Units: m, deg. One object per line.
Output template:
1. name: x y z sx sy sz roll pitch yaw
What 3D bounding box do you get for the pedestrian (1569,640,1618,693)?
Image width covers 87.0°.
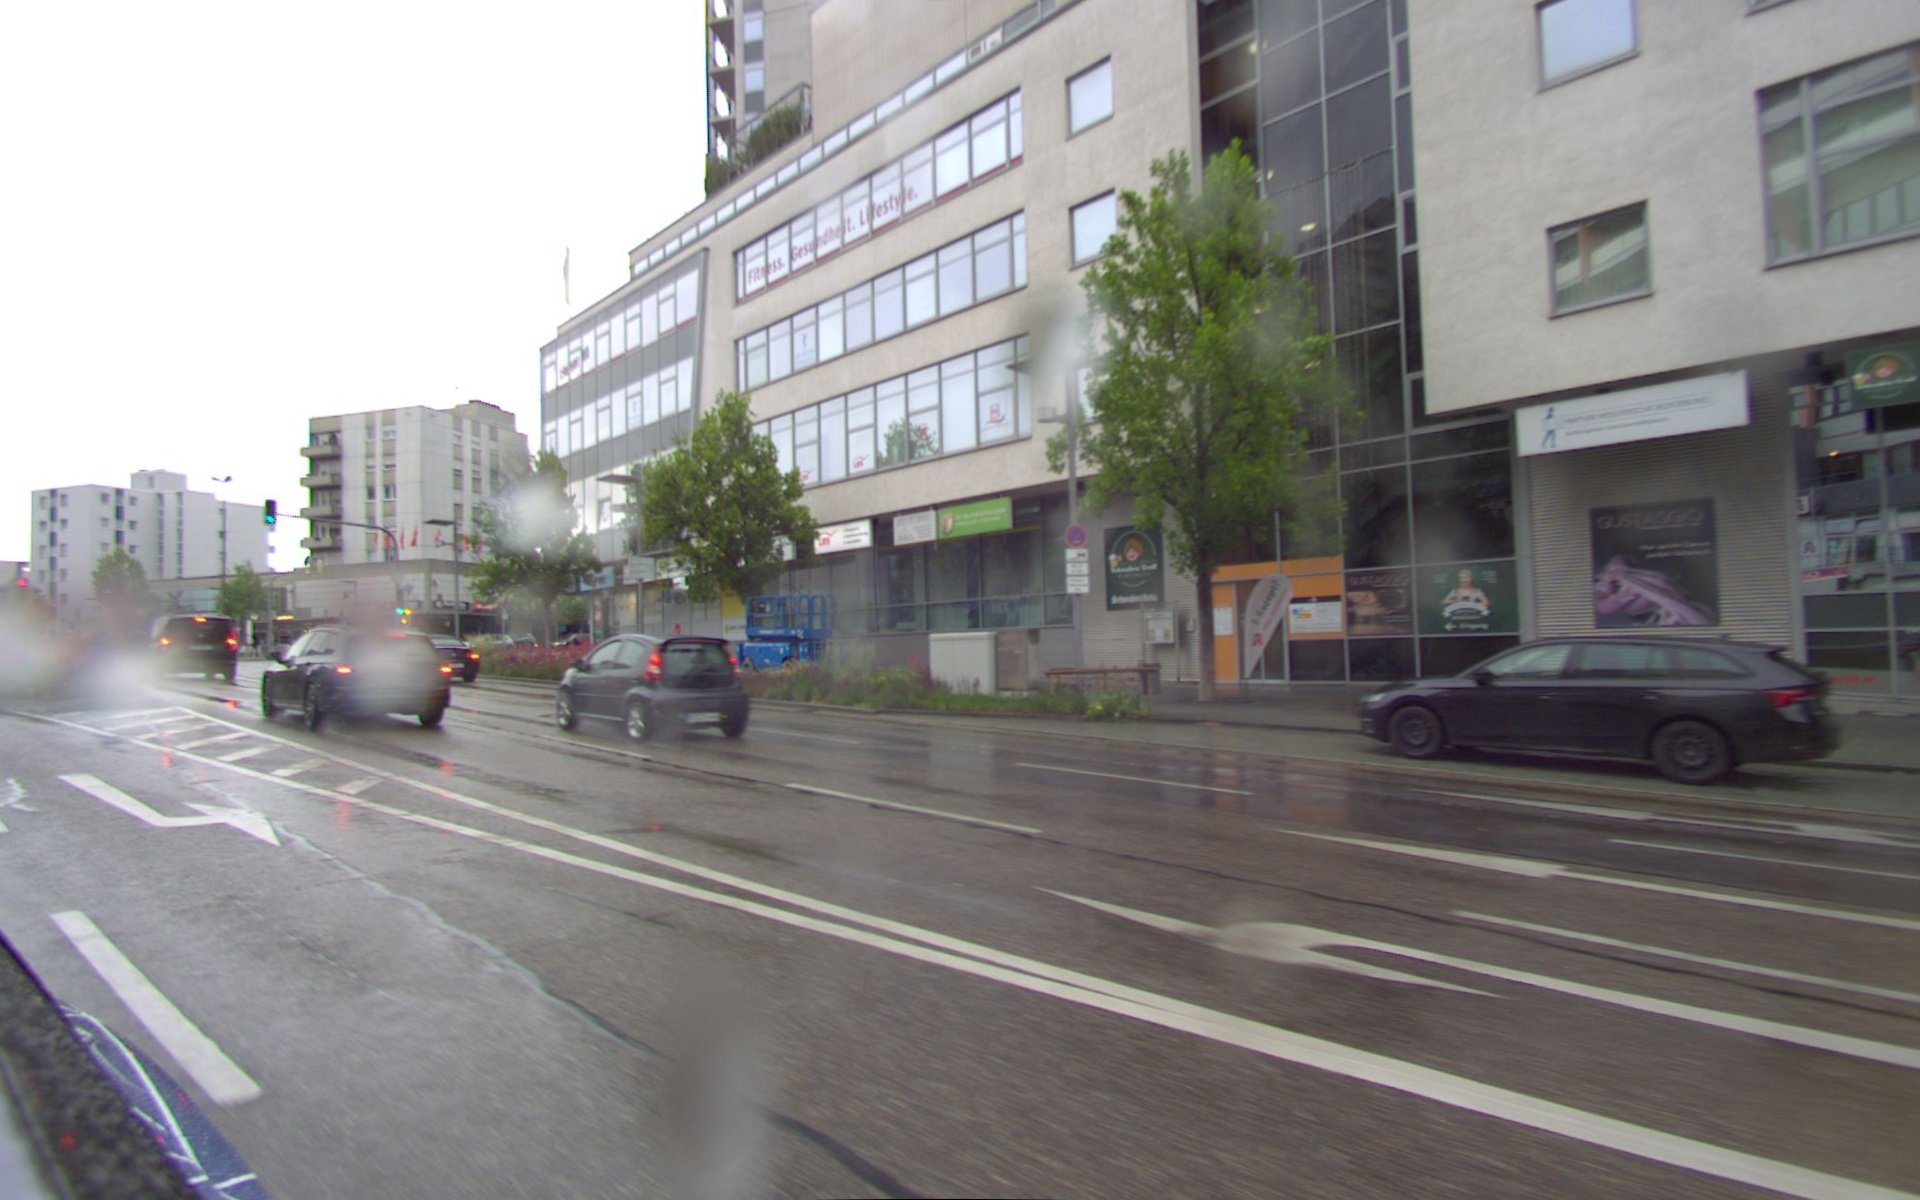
1. pedestrian: 12.096 1.261 19.330 0.519 0.983 0.688 2 -3 -44

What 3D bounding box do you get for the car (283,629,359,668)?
1. car: -26.910 2.029 42.591 1.893 1.560 4.005 3 -4 -44

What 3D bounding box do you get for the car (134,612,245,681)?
1. car: -21.936 1.321 28.749 4.001 1.804 1.842 -2 -4 44

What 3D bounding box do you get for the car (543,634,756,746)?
1. car: -4.490 1.198 14.414 1.547 1.386 3.284 3 -3 -44

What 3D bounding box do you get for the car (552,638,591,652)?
1. car: -33.446 3.871 87.227 1.437 1.202 3.047 -1 -2 23

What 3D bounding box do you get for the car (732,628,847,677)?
1. car: -5.322 1.595 31.361 1.732 1.421 3.733 2 -3 -43

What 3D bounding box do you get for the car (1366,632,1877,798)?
1. car: 7.087 1.097 11.208 4.477 1.458 1.805 -2 -3 44

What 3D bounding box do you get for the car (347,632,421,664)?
1. car: -30.325 2.533 53.431 1.660 1.639 4.201 1 -3 -3

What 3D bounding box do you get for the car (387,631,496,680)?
1. car: -15.734 1.652 30.581 1.612 1.356 4.709 3 -4 -44

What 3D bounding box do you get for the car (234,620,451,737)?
1. car: -9.436 1.086 15.313 4.392 1.528 1.688 -2 -3 43
